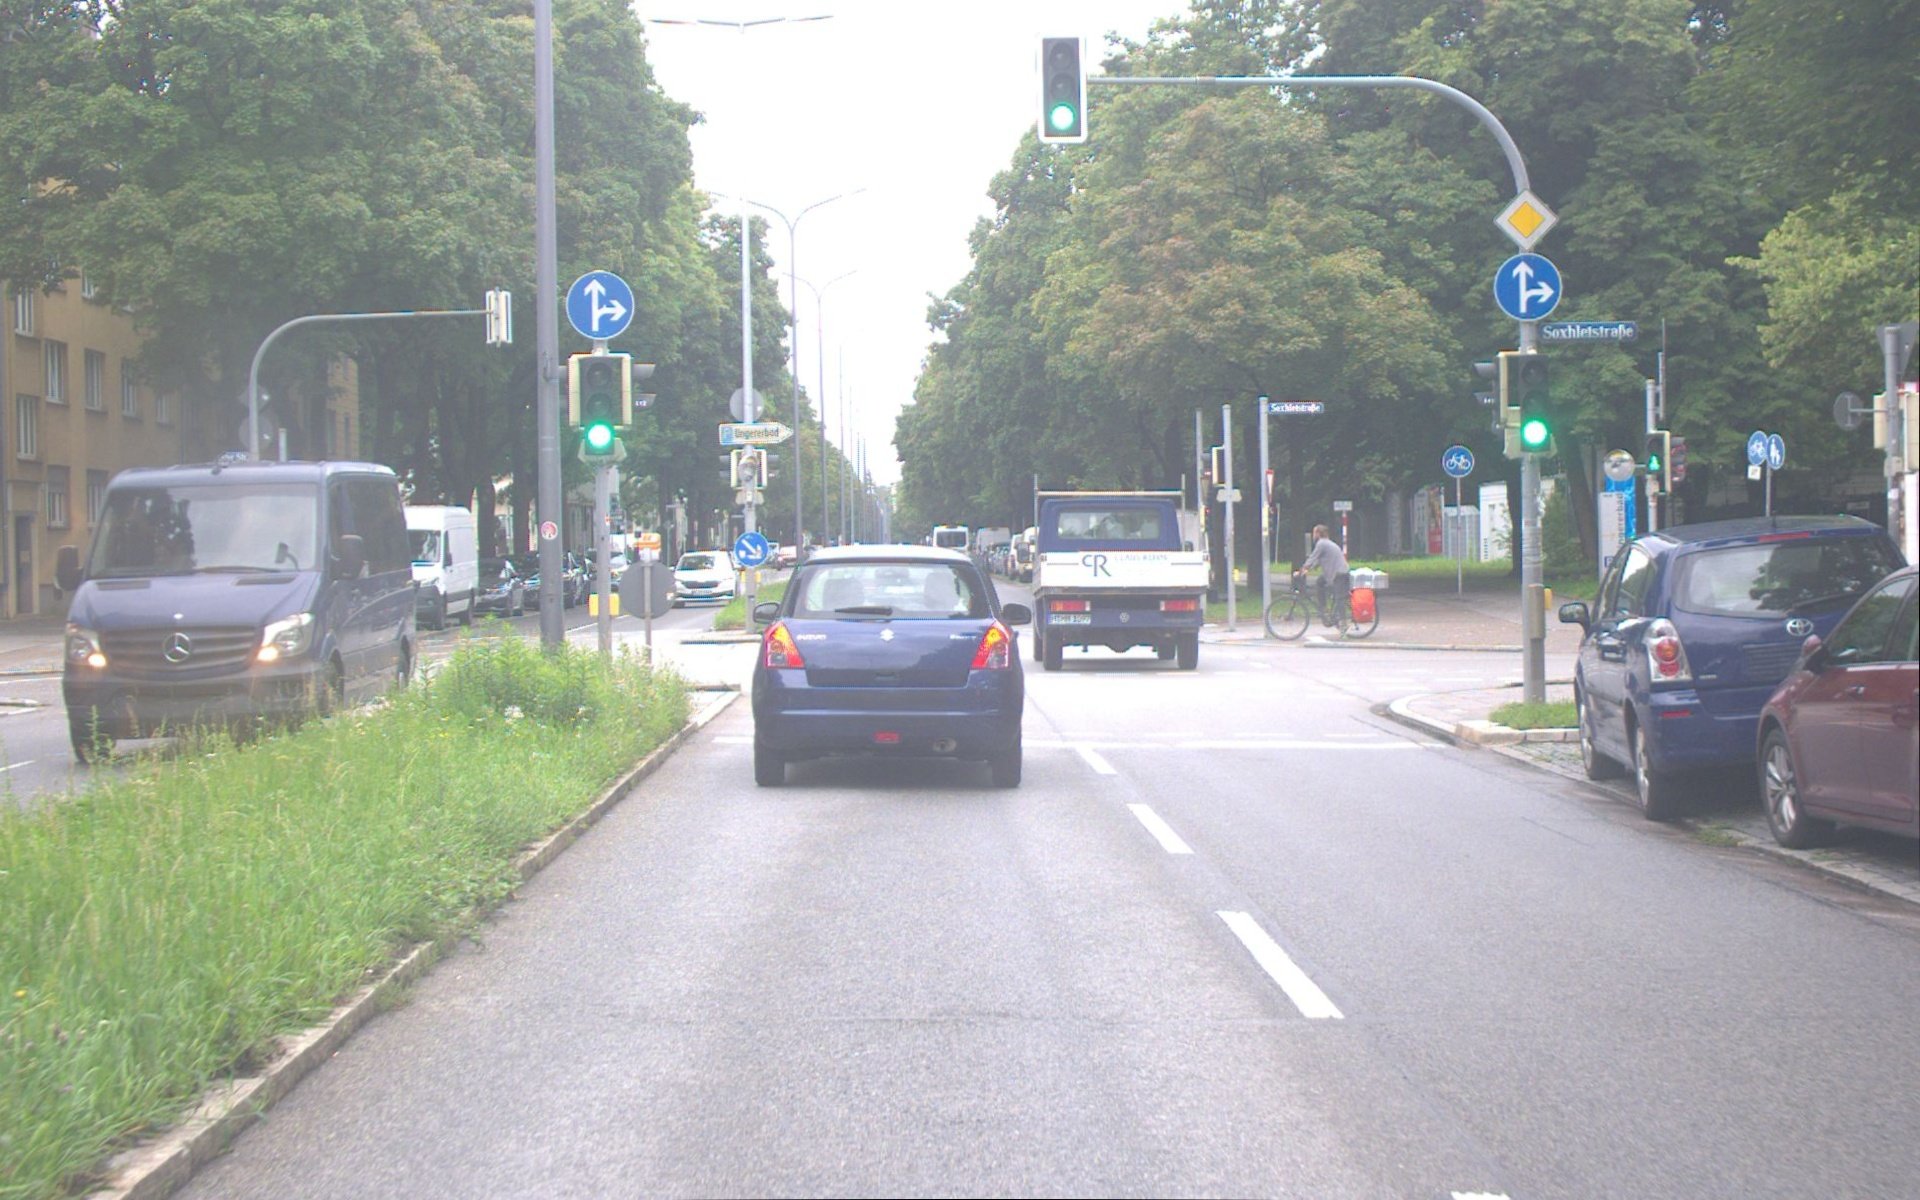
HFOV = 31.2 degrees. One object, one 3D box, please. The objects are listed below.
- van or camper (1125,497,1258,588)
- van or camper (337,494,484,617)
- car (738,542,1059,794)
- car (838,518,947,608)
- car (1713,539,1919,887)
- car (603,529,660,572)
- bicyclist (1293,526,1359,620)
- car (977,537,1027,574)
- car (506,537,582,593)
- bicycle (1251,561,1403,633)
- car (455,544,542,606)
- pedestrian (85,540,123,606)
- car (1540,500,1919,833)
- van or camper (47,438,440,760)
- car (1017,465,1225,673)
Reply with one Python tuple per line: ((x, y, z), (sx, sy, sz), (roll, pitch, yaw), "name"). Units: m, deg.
((4.711, -1.182, 70.566), (2.125, 1.787, 4.508), (0, 1, -4), "van or camper")
((-11.729, -0.976, 73.781), (2.140, 2.467, 6.259), (-2, 1, -1), "van or camper")
((-0.484, 0.375, 22.395), (1.896, 1.494, 3.661), (0, 1, -4), "car")
((-1.182, -0.650, 59.672), (1.799, 1.494, 3.660), (-1, 1, -1), "car")
((4.932, 0.449, 15.881), (1.712, 1.419, 4.284), (-5, 1, -2), "car")
((-11.451, -1.735, 120.097), (1.636, 1.437, 3.735), (-2, 1, -1), "car")
((5.776, -0.432, 54.267), (0.930, 1.474, 0.990), (0, 1, 1), "bicyclist")
((1.743, -1.884, 144.265), (1.786, 1.494, 3.661), (0, 1, -4), "car")
((-11.395, -0.968, 94.290), (1.636, 1.437, 3.735), (-2, 1, -1), "car")
((5.787, -0.052, 54.273), (2.297, 1.110, 0.996), (0, 1, 1), "bicycle")
((-11.414, -0.636, 85.210), (1.636, 1.437, 3.735), (-2, 1, -1), "car")
((-18.632, -0.590, 74.853), (0.629, 1.435, 0.806), (1, 0, -1), "pedestrian")
((4.677, 0.299, 20.652), (1.763, 1.652, 4.283), (-5, 1, 3), "car")
((-5.604, -0.070, 27.723), (2.023, 2.253, 6.022), (-2, 1, -2), "van or camper")
((1.937, -0.415, 43.026), (2.418, 2.435, 5.087), (0, 1, 1), "car")
